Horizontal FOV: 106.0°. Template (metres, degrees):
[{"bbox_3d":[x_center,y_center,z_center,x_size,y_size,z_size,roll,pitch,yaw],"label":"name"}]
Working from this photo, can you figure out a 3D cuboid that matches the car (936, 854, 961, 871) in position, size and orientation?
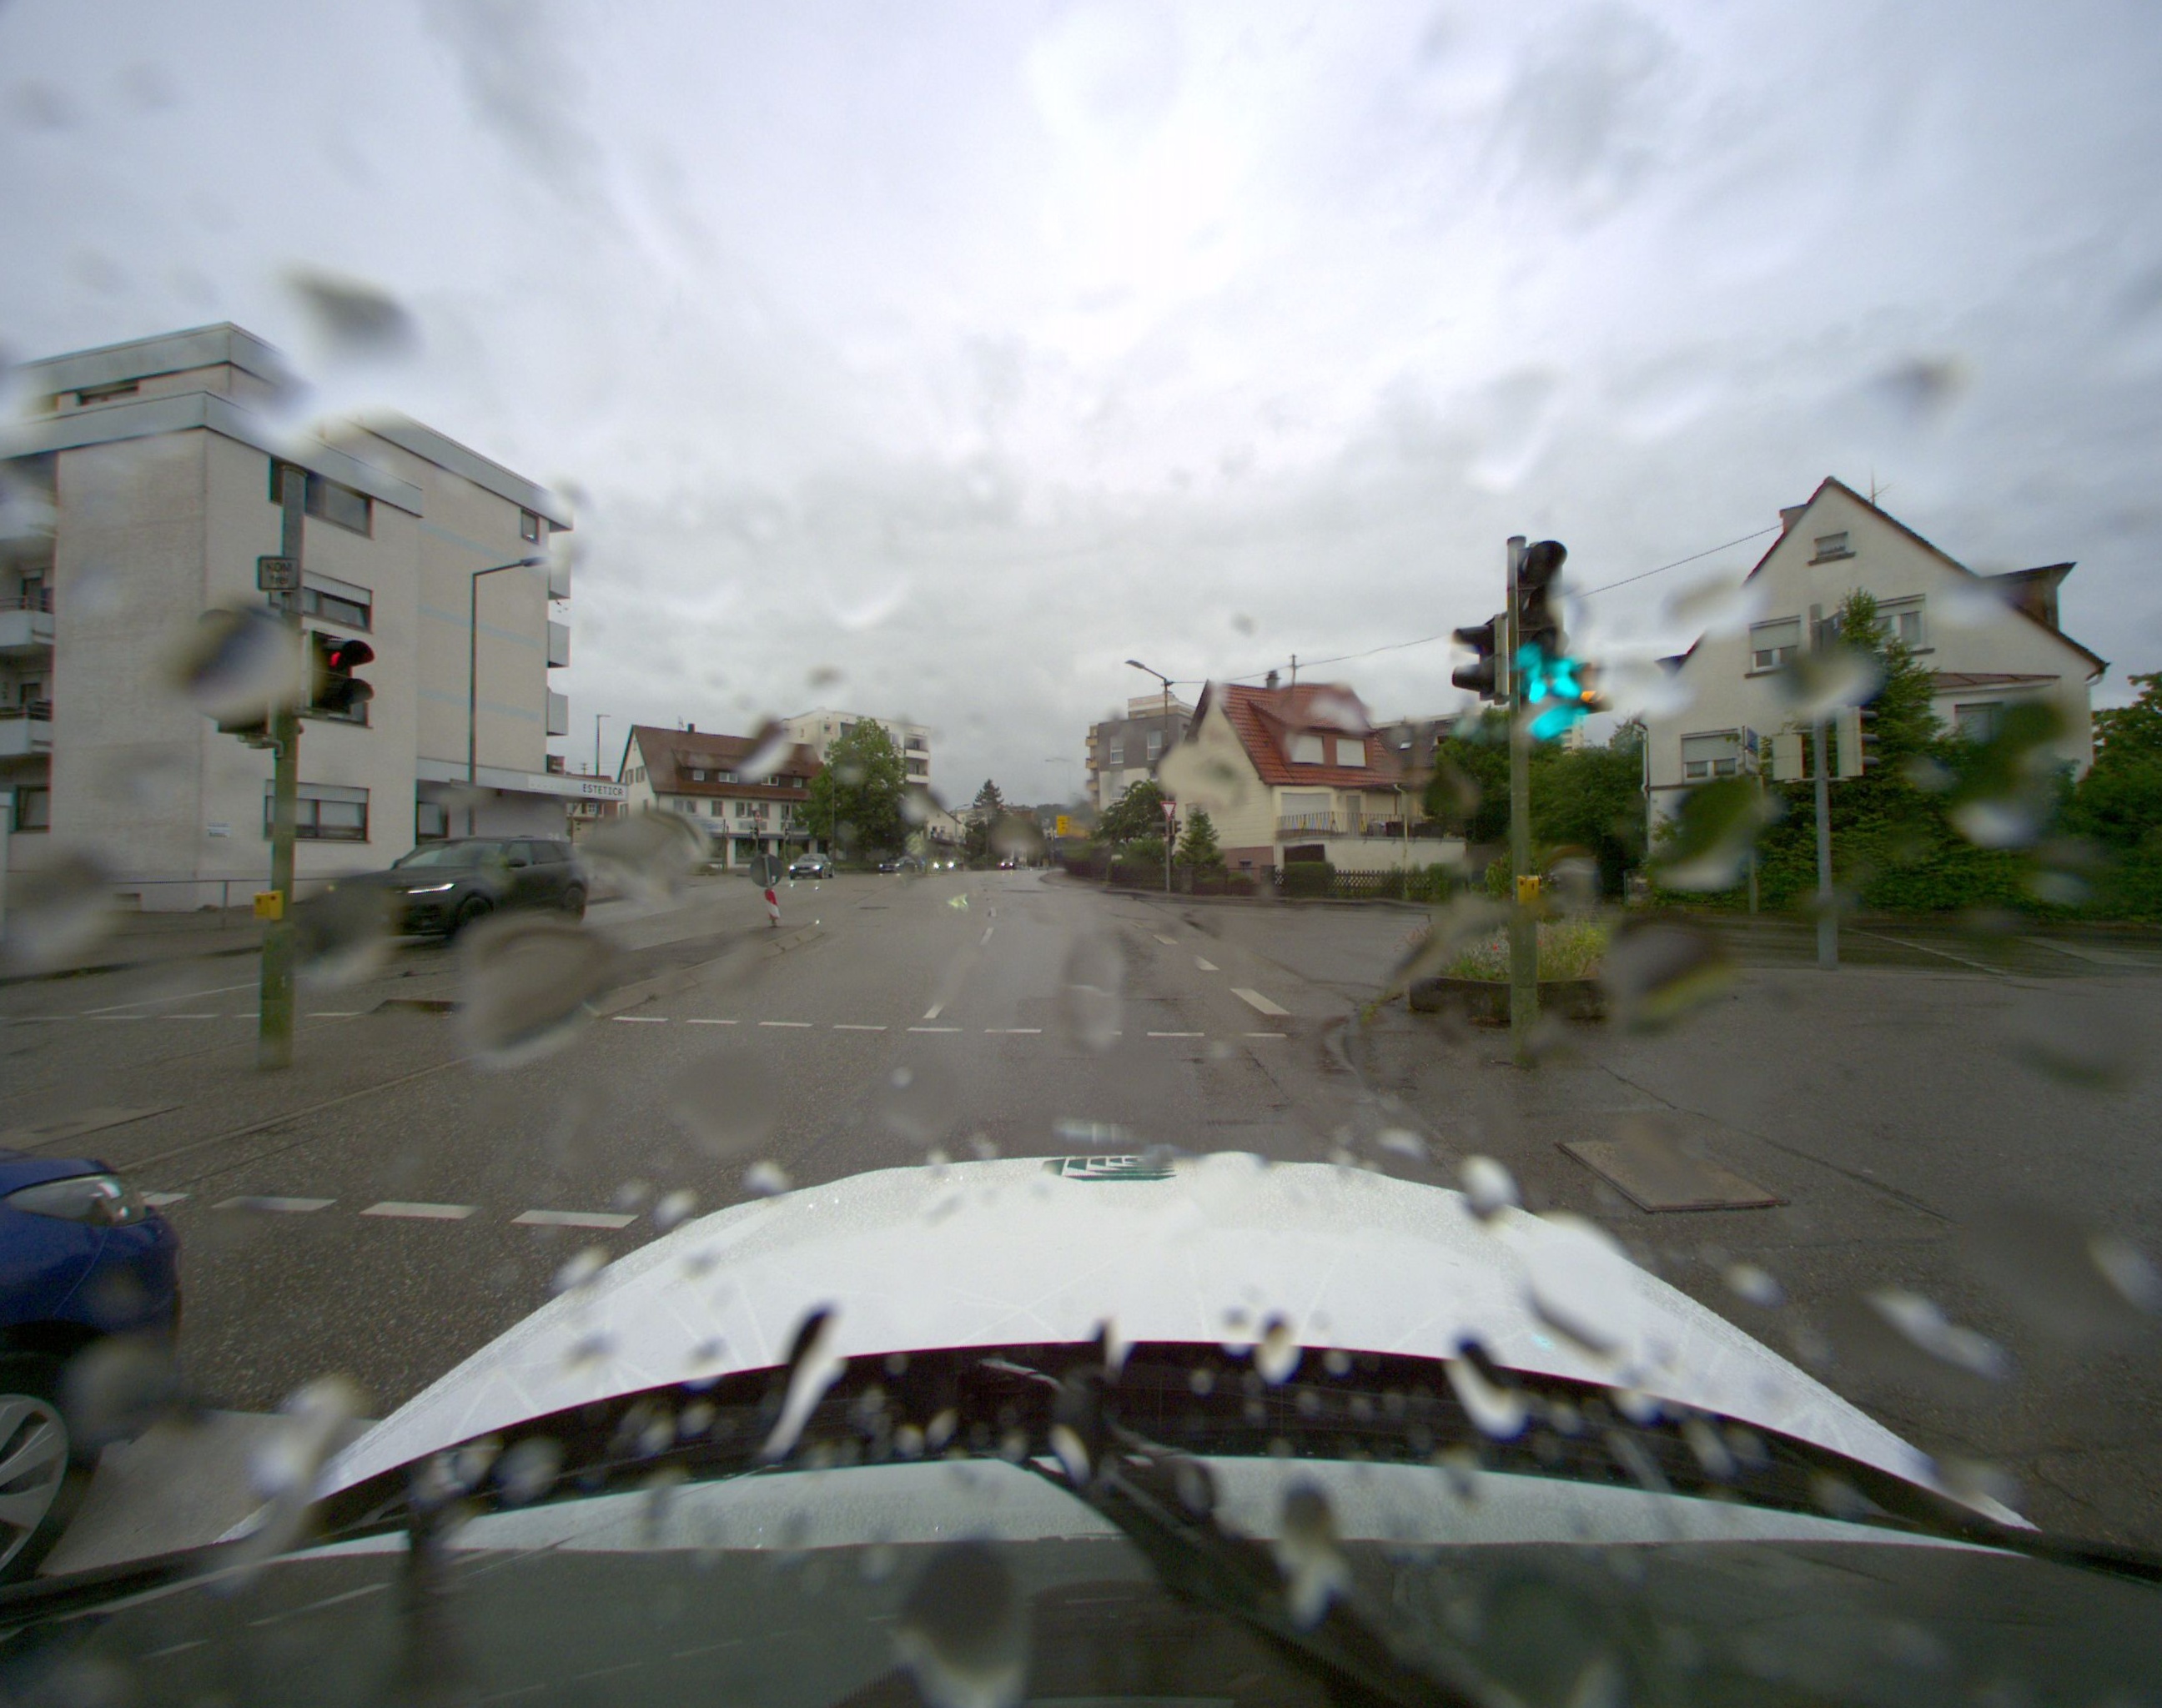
[{"bbox_3d":[-13.023,0.831,80.315,1.989,1.679,3.996,0,-1,-3],"label":"car"}]

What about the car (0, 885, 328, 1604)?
[{"bbox_3d":[-2.947,0.798,0.644,1.499,1.413,3.365,0,0,2],"label":"car"}]

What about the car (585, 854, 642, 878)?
[{"bbox_3d":[-38.409,0.971,66.911,3.706,1.920,1.864,0,-1,-44],"label":"car"}]

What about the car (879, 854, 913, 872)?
[{"bbox_3d":[-15.112,0.748,66.672,1.989,1.463,3.996,0,-1,-3],"label":"car"}]

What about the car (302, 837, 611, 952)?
[{"bbox_3d":[-11.044,0.643,15.058,1.990,1.737,5.173,0,-1,-4],"label":"car"}]

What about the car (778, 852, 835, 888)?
[{"bbox_3d":[-15.276,0.864,45.480,1.989,1.904,3.996,0,-1,-3],"label":"car"}]

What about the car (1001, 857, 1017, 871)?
[{"bbox_3d":[-9.791,1.373,110.853,1.989,1.812,3.996,0,-1,-3],"label":"car"}]

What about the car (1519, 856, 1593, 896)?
[{"bbox_3d":[17.128,0.757,29.281,1.794,1.362,4.025,-1,-1,37],"label":"car"}]

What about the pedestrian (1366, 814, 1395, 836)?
[{"bbox_3d":[12.790,-1.248,34.778,0.918,0.883,0.631,0,-3,-18],"label":"pedestrian"}]
